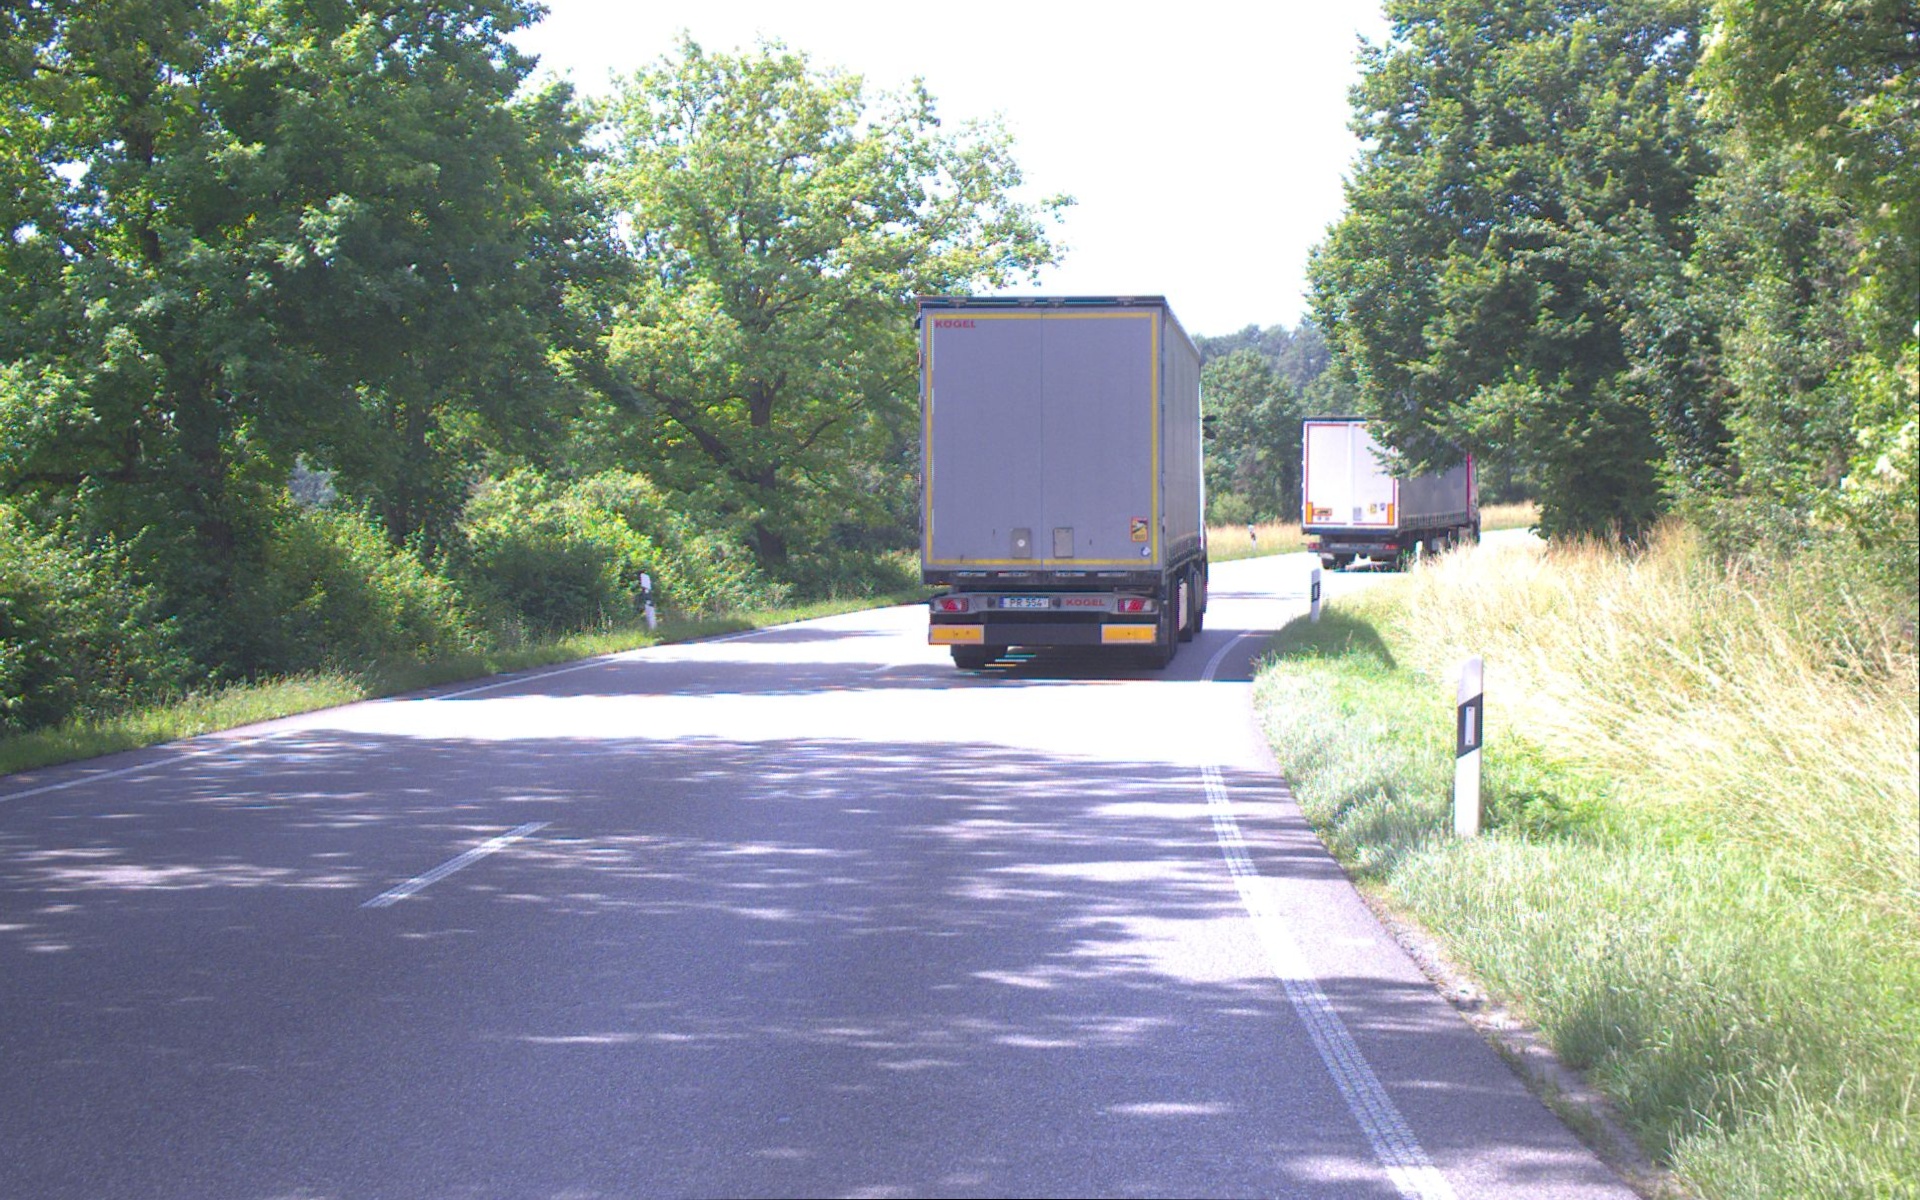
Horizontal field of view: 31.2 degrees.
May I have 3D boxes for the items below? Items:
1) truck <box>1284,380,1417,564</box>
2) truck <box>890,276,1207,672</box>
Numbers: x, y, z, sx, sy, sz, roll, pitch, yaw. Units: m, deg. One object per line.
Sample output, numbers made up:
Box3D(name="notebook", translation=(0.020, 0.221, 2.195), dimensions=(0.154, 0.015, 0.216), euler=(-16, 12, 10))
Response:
Box3D(name="truck", translation=(11.141, -3.554, 96.727), dimensions=(3.106, 4.689, 16.584), euler=(-1, 2, 8))
Box3D(name="truck", translation=(1.457, -1.522, 42.992), dimensions=(2.802, 4.054, 15.323), euler=(0, 2, 6))
